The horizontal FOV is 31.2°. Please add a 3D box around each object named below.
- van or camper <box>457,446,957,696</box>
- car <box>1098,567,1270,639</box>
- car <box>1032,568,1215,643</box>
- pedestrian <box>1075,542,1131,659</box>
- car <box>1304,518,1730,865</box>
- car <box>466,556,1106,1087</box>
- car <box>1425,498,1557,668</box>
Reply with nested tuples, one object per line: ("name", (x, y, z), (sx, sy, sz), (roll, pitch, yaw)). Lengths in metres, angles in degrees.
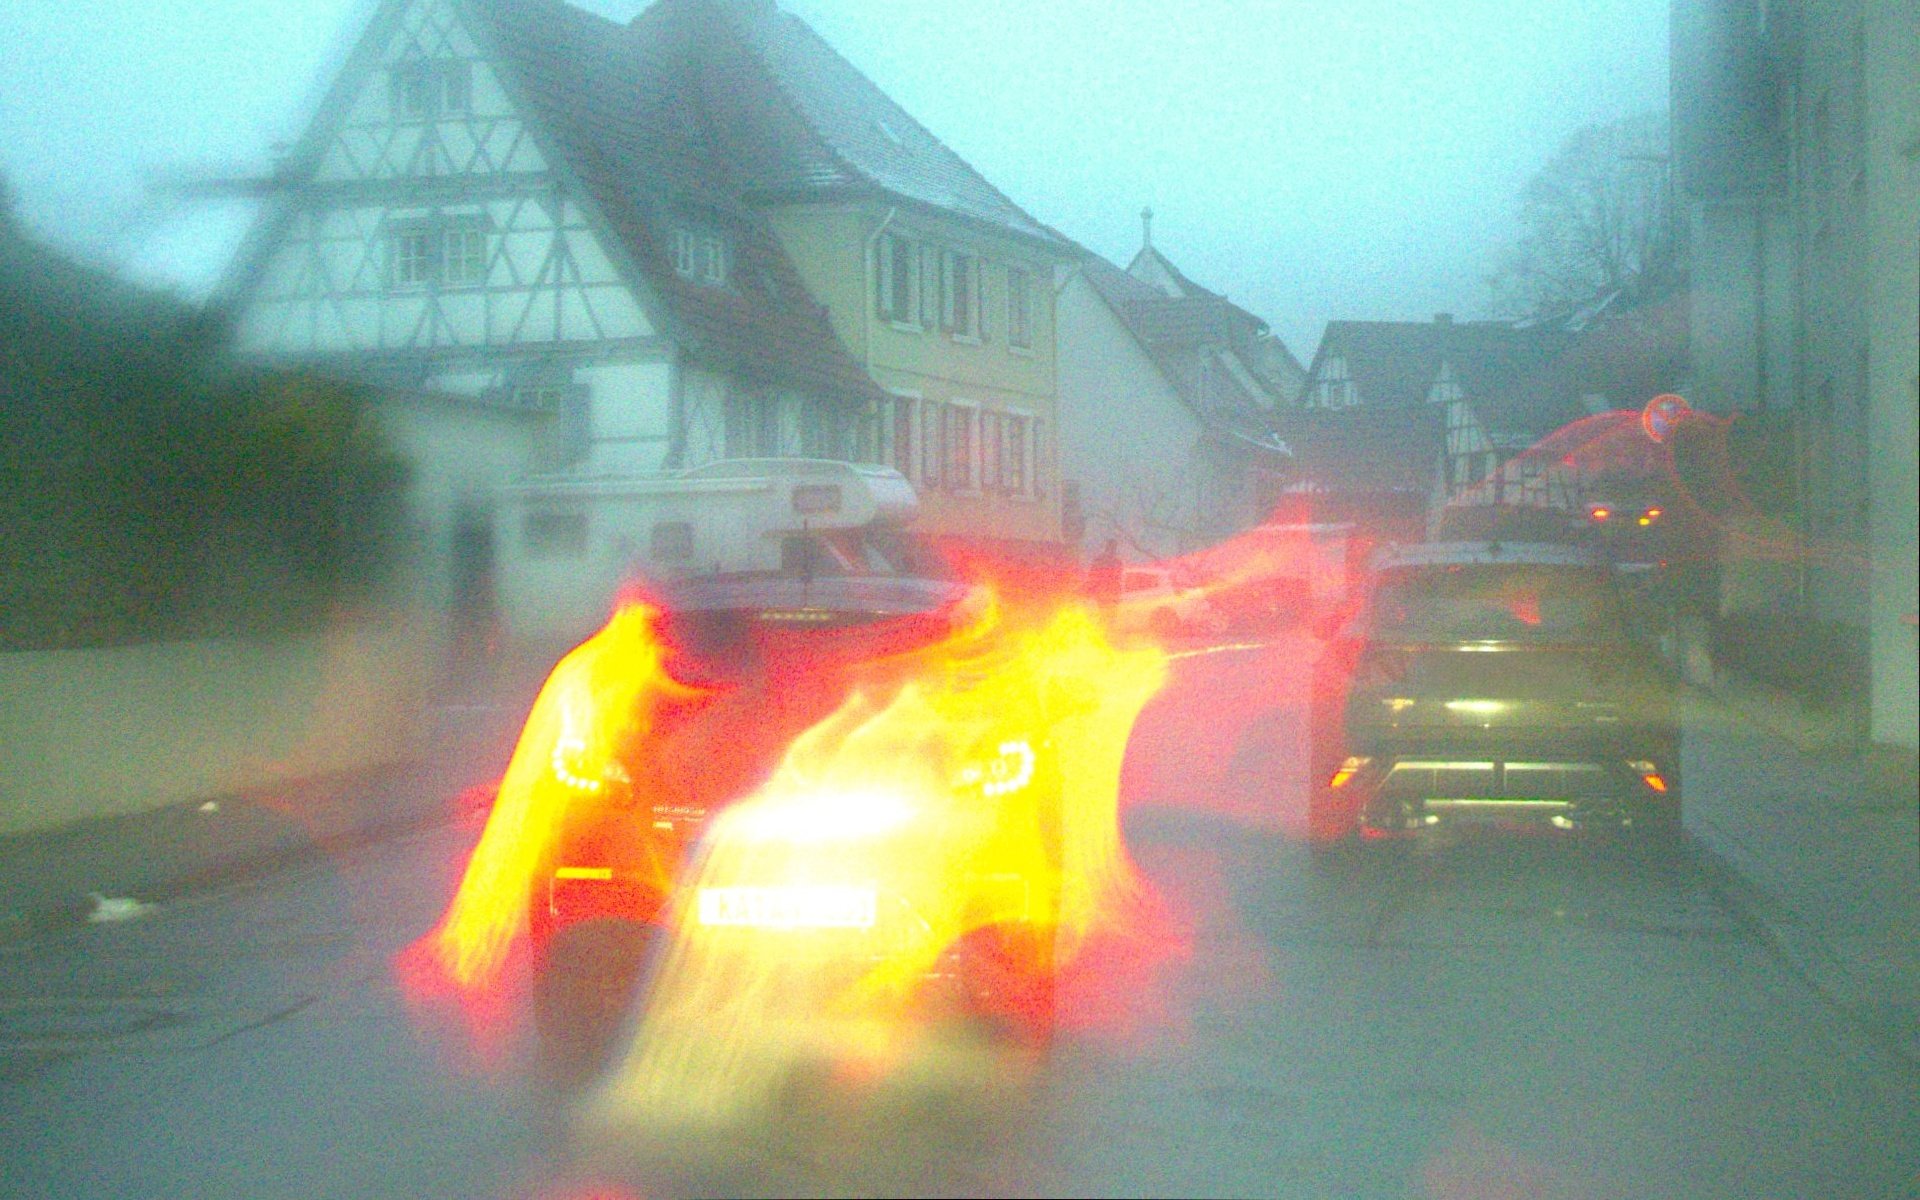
("van or camper", (-3.333, -0.359, 45.689), (6.064, 2.945, 2.405), (-3, 0, 14))
("car", (4.832, 0.057, 74.046), (3.509, 1.502, 1.691), (1, 0, 10))
("car", (3.414, 0.104, 71.679), (3.510, 1.502, 1.691), (1, 0, 16))
("pedestrian", (2.465, 0.003, 59.093), (0.874, 2.007, 0.794), (0, 0, 9))
("car", (2.899, 0.428, 18.742), (1.848, 1.631, 4.335), (1, 0, 4))
("car", (-0.463, 0.613, 11.802), (1.795, 1.471, 4.000), (1, 0, 1))
("car", (7.860, -0.255, 50.656), (1.815, 2.405, 3.750), (0, 0, 10))
